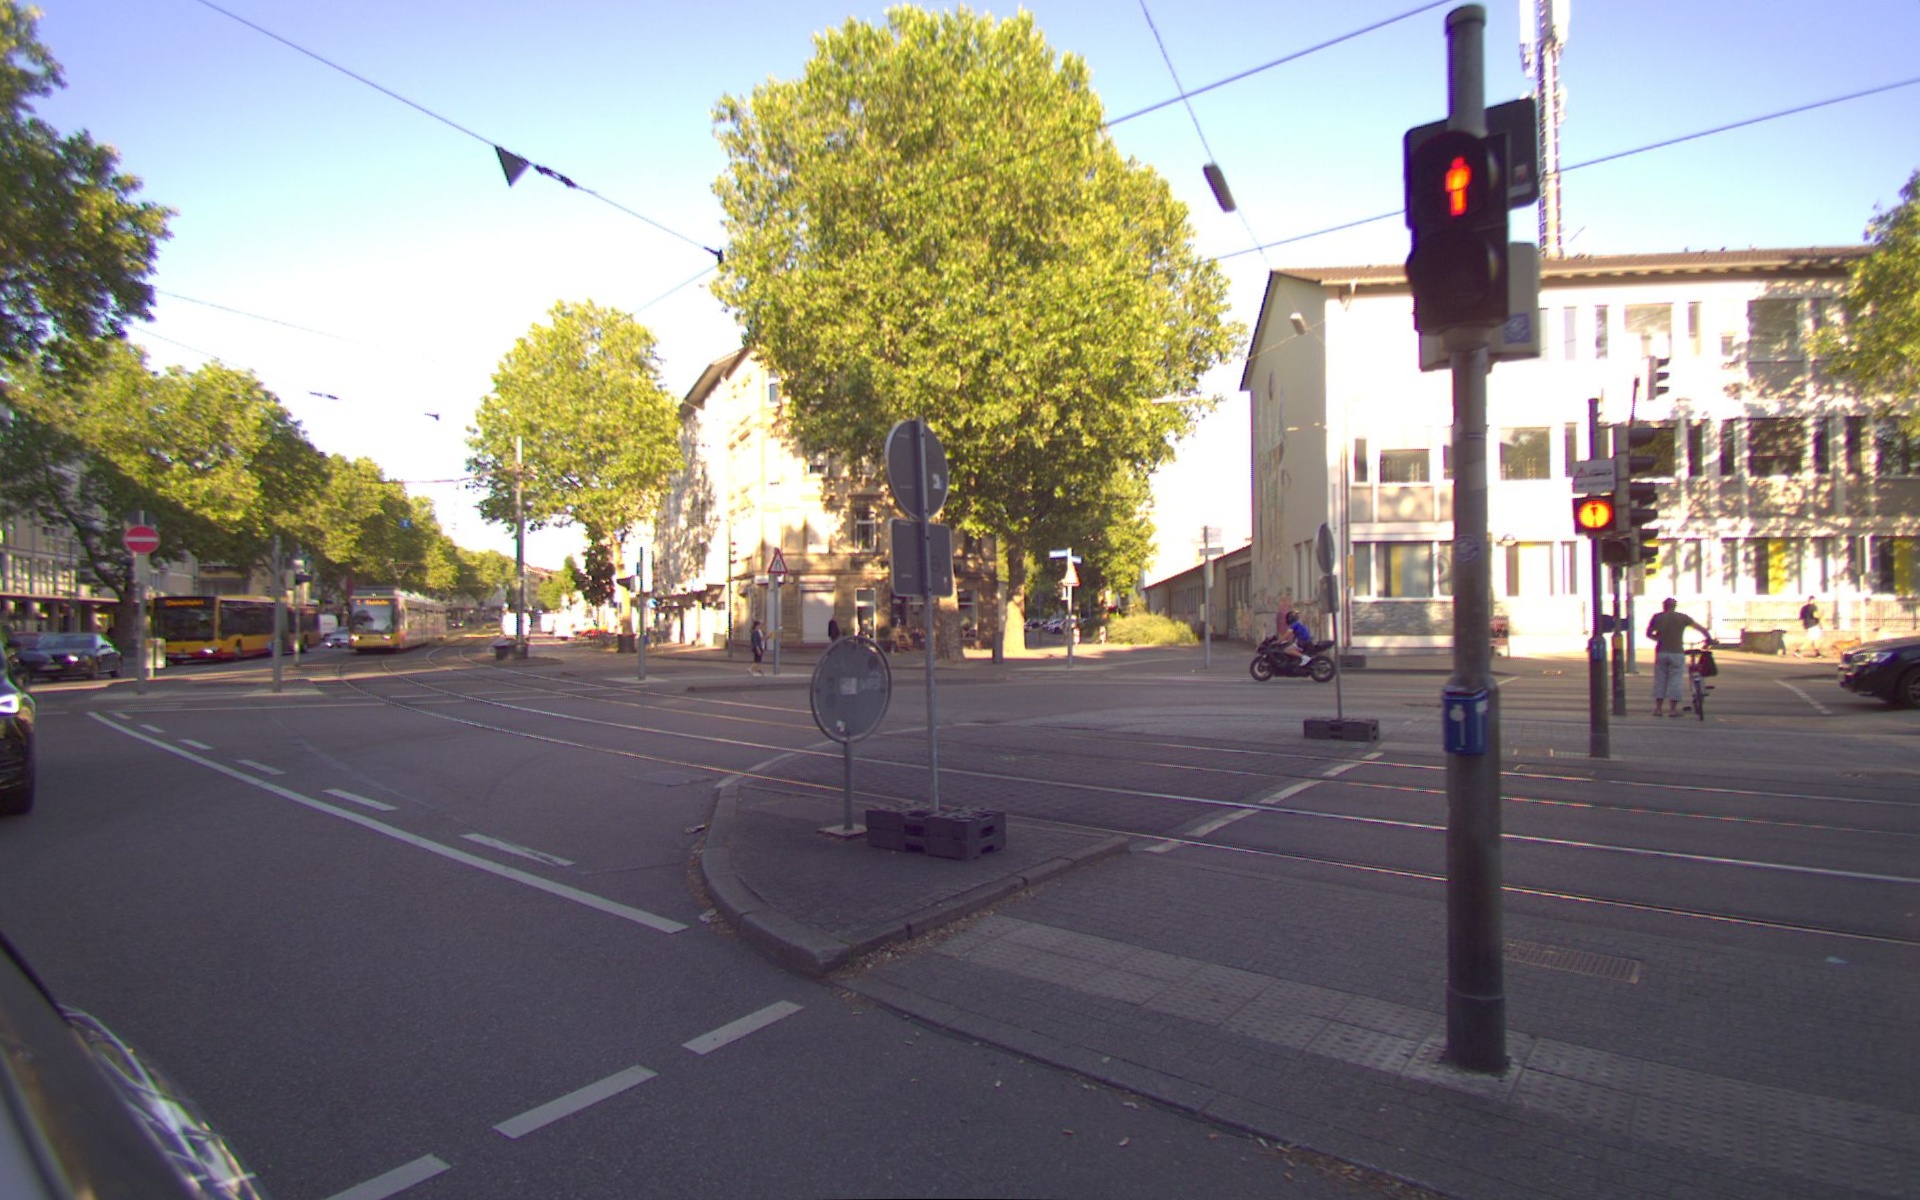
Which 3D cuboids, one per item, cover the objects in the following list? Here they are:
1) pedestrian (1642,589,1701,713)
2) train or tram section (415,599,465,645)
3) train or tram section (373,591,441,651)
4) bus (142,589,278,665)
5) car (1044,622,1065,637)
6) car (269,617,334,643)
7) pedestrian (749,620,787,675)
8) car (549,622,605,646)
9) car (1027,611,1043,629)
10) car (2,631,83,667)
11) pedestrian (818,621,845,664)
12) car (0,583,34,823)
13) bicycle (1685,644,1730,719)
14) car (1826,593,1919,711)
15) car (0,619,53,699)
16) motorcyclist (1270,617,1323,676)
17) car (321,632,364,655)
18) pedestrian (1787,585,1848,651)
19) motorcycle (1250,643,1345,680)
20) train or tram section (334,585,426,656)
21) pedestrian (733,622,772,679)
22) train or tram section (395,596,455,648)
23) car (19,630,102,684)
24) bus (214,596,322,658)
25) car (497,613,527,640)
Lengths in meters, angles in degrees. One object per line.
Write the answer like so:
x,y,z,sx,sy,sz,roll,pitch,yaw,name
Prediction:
10.538,0.744,14.992,0.596,1.772,0.588,-2,-2,43,pedestrian
-43.095,1.823,84.060,2.795,3.514,10.372,0,-1,-22,train or tram section
-35.282,1.363,64.856,2.795,3.514,10.372,0,-1,-23,train or tram section
-34.411,1.243,46.865,2.707,3.127,9.527,0,-2,-22,bus
9.564,3.011,102.770,1.704,1.505,3.999,-1,-1,0,car
-61.637,2.753,94.815,1.870,2.394,4.824,-1,-1,26,car
-5.392,1.339,28.465,0.794,1.520,0.794,-1,-2,14,pedestrian
-33.536,2.987,88.806,1.893,1.991,4.610,-1,-2,25,car
9.608,2.582,130.047,1.826,2.160,3.999,-1,-1,0,car
-40.045,2.110,44.263,1.624,1.483,3.720,0,-2,-25,car
-5.443,1.777,42.728,0.801,1.769,0.788,-2,-2,37,pedestrian
-8.766,0.777,7.908,4.297,1.670,1.824,-2,-1,42,car
10.640,1.133,14.391,0.321,0.973,1.559,-2,-2,42,bicycle
15.628,0.712,14.506,4.570,1.679,1.881,-2,0,31,car
-21.891,1.293,22.548,1.818,1.670,4.311,-1,-1,-33,car
7.826,1.081,23.536,0.981,1.325,0.675,-3,-3,32,motorcyclist
-44.097,3.064,72.390,1.880,1.486,4.432,0,-1,-21,car
23.059,0.484,27.222,0.872,1.742,0.808,-1,-2,-2,pedestrian
7.832,1.432,23.529,1.988,0.814,0.675,-3,-3,32,motorcycle
-31.394,1.121,55.189,2.776,3.514,10.371,0,-1,-21,train or tram section
-5.664,1.369,27.651,0.793,1.520,0.795,-1,-2,8,pedestrian
-39.178,1.606,74.438,2.830,3.514,10.372,0,-1,-22,train or tram section
-26.631,1.668,30.058,1.626,1.483,3.715,0,-2,-38,car
-37.858,1.472,55.732,2.707,3.127,9.527,0,-2,-21,bus
-37.347,2.257,84.336,2.130,2.138,4.994,1,-3,-24,car
